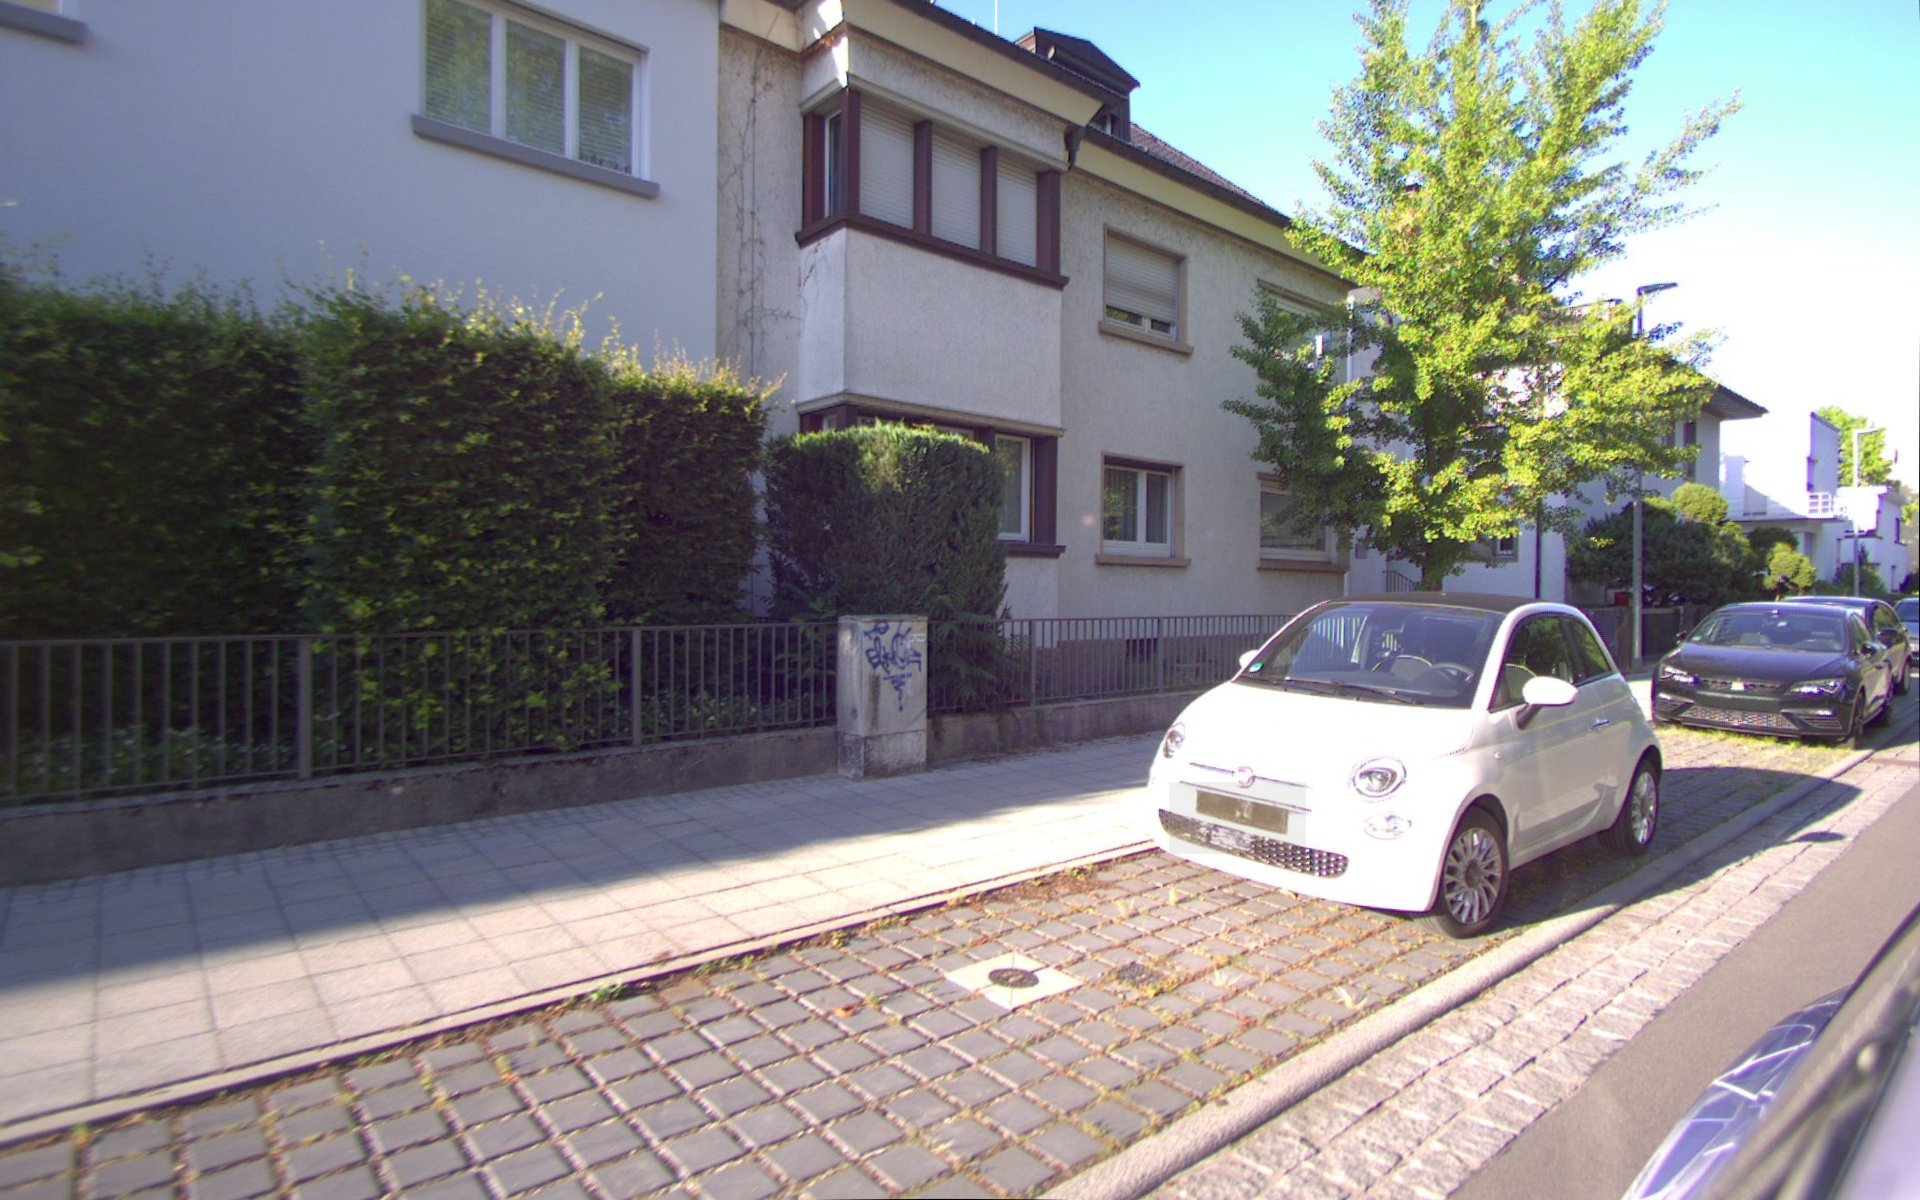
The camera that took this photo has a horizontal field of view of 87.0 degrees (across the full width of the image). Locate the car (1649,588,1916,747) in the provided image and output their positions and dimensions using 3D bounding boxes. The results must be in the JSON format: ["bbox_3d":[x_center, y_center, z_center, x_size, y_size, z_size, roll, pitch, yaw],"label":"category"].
[{"bbox_3d":[9.488,0.630,11.567,3.986,1.499,1.744,0,0,-42],"label":"car"}]

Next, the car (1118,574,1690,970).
[{"bbox_3d":[2.580,0.634,5.546,3.431,1.498,1.508,0,1,-40],"label":"car"}]

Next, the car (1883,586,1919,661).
[{"bbox_3d":[21.877,0.491,22.342,3.764,1.554,1.665,-1,2,-39],"label":"car"}]

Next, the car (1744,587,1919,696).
[{"bbox_3d":[13.735,0.559,15.731,3.696,1.499,1.664,0,0,-39],"label":"car"}]
